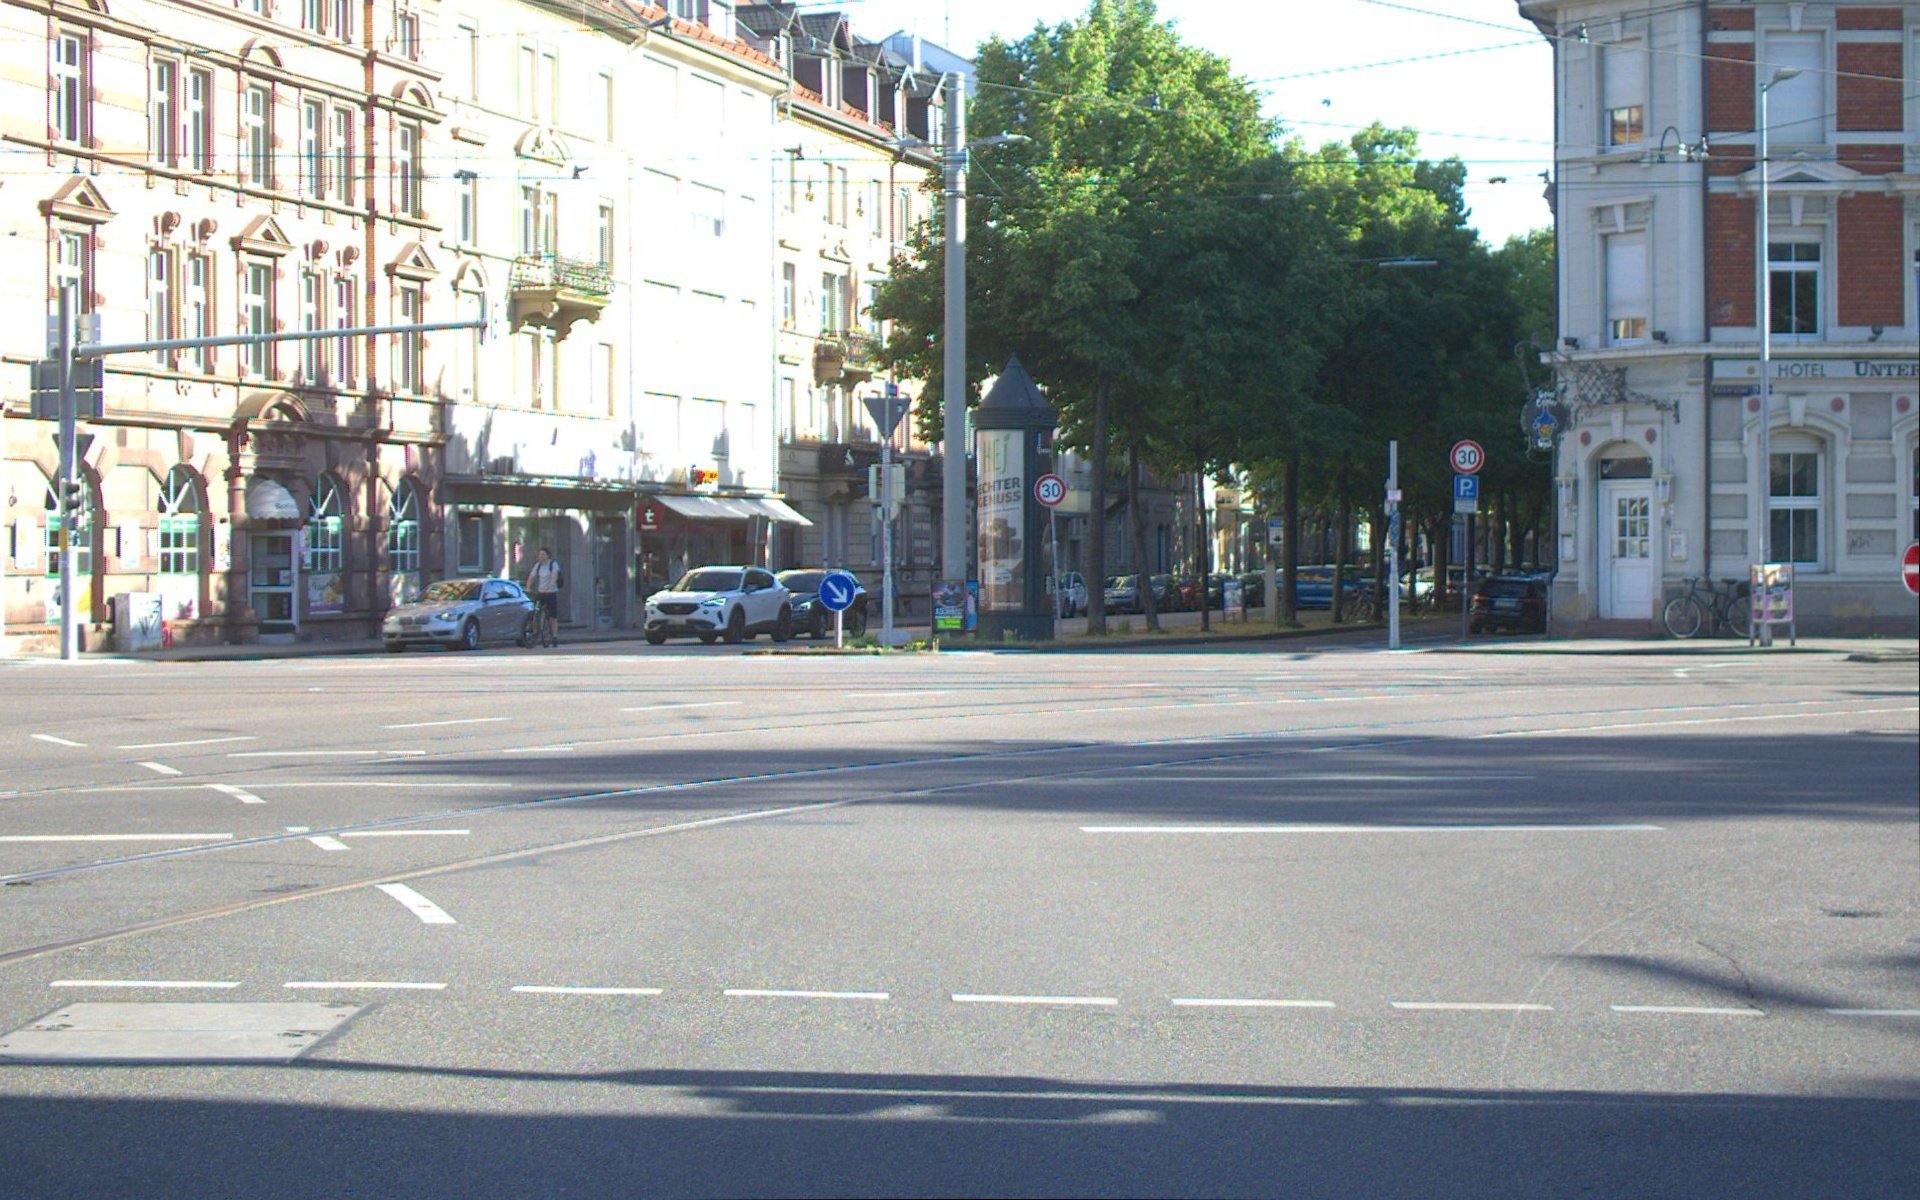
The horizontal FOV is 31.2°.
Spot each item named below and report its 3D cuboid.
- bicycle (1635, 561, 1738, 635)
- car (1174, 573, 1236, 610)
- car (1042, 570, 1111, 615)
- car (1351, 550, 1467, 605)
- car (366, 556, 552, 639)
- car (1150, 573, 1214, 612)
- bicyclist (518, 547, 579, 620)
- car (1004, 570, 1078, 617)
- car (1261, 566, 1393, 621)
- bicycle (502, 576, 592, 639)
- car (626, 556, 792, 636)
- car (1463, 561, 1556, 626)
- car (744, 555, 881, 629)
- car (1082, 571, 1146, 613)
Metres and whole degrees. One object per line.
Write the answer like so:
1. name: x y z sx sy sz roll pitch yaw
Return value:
1. bicycle: 12.068 -0.035 57.136 1.639 1.218 0.606 0 1 16
2. car: 9.737 -0.347 136.388 1.742 1.393 4.121 3 1 13
3. car: 3.930 -0.255 115.808 1.741 1.393 4.122 3 1 9
4. car: 17.419 -0.877 133.425 4.115 1.912 1.744 3 1 21
5. car: -9.770 -0.070 67.383 2.098 1.540 4.361 0 1 14
6. car: 8.518 -0.312 131.609 1.742 1.393 4.121 3 1 13
7. bicyclist: -7.846 -0.314 65.594 0.794 1.370 1.107 0 1 14
8. car: 2.606 -0.215 110.003 1.741 1.393 4.122 3 1 9
9. car: 12.301 -0.226 115.227 4.113 1.640 1.745 3 1 15
10. bicycle: -7.860 0.127 65.631 0.751 1.131 2.808 0 1 14
11. car: -4.871 -0.103 67.168 2.098 1.494 3.998 0 1 14
12. car: 13.175 -0.157 82.288 1.652 1.519 3.750 0 0 17
13. car: -3.122 -0.190 73.535 1.994 1.508 3.998 0 1 12
14. car: 5.517 -0.302 122.785 1.741 1.393 4.122 3 1 9
